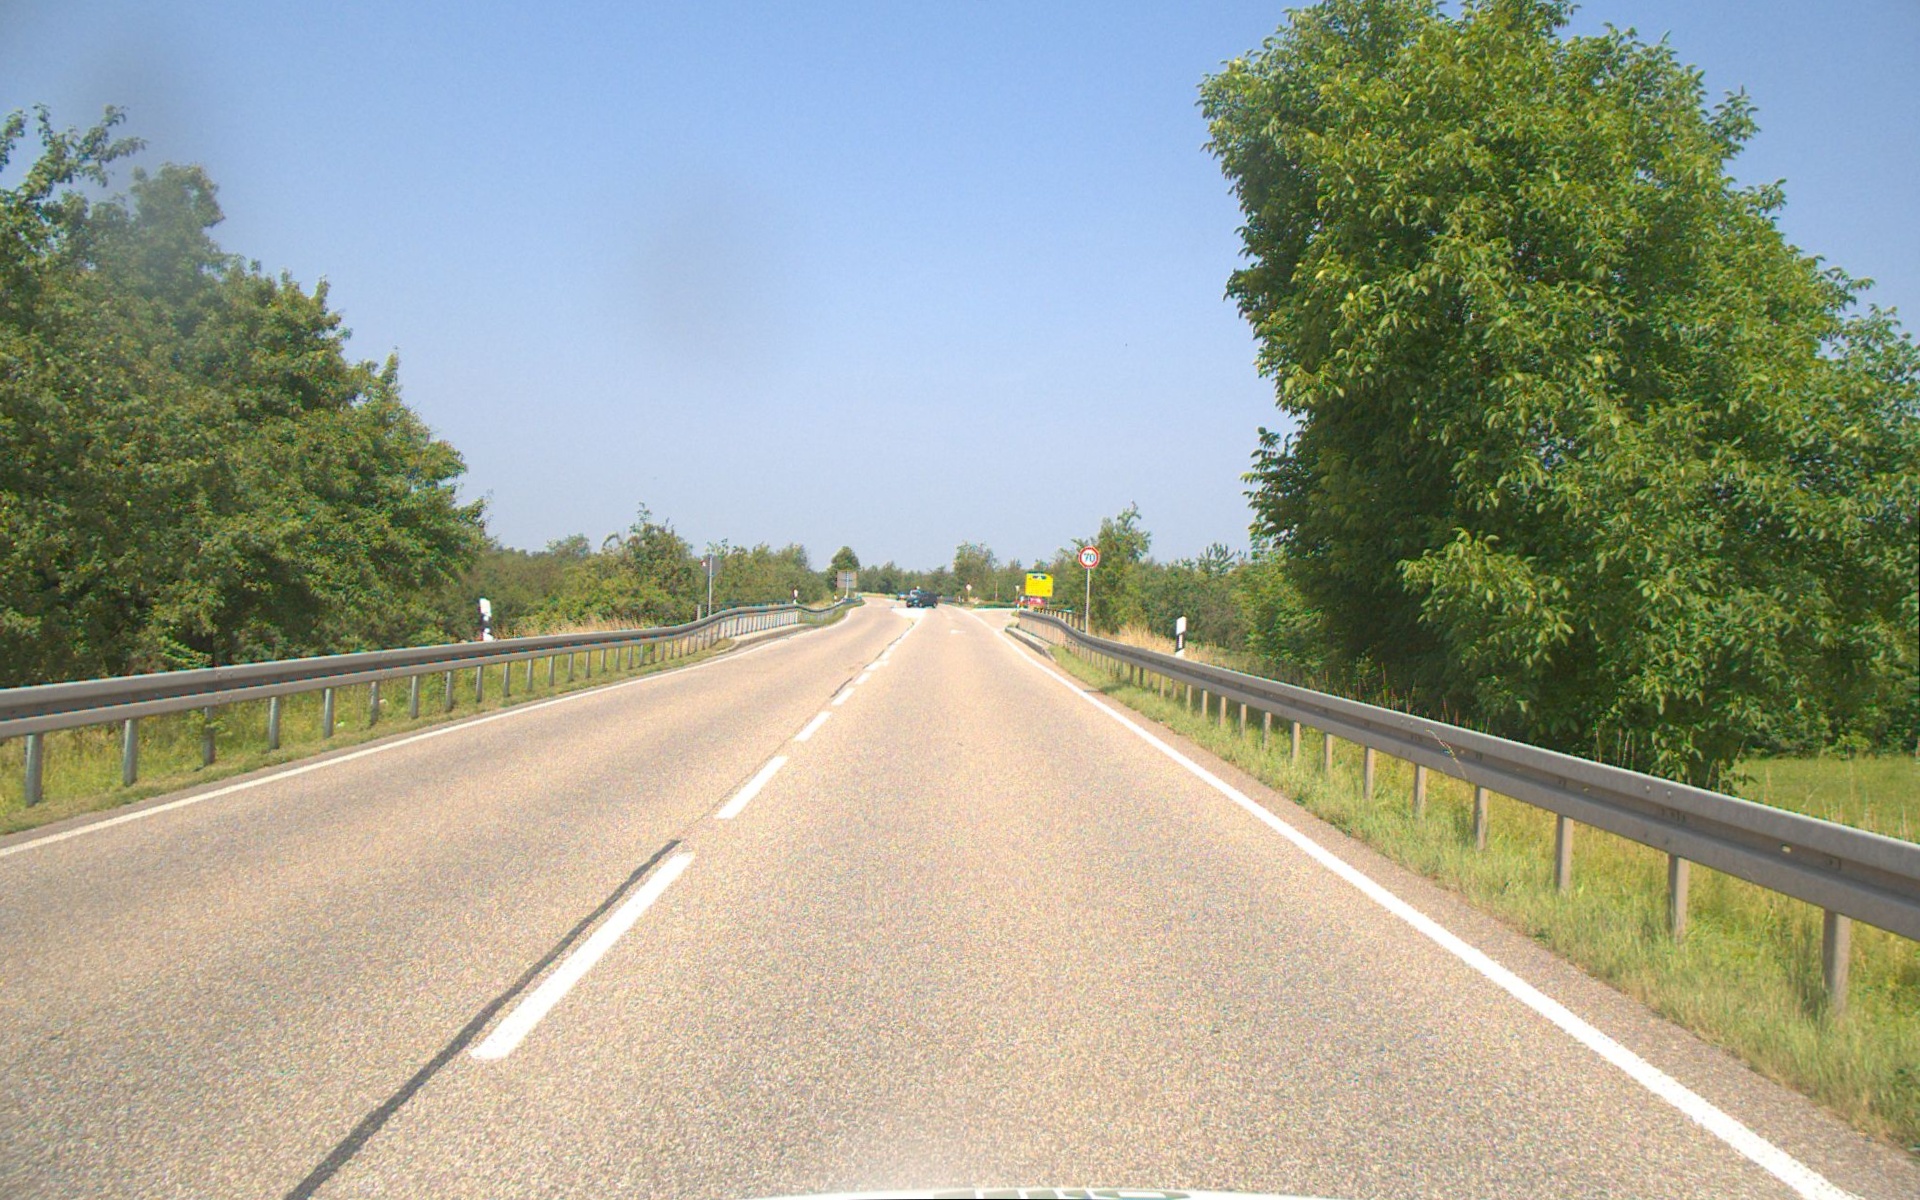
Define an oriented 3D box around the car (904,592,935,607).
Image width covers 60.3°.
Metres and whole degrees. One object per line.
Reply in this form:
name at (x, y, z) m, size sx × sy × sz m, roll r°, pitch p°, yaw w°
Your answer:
car at (-4.461, -0.042, 182.609) m, size 1.766 × 1.666 × 4.810 m, roll 1°, pitch 0°, yaw 20°
